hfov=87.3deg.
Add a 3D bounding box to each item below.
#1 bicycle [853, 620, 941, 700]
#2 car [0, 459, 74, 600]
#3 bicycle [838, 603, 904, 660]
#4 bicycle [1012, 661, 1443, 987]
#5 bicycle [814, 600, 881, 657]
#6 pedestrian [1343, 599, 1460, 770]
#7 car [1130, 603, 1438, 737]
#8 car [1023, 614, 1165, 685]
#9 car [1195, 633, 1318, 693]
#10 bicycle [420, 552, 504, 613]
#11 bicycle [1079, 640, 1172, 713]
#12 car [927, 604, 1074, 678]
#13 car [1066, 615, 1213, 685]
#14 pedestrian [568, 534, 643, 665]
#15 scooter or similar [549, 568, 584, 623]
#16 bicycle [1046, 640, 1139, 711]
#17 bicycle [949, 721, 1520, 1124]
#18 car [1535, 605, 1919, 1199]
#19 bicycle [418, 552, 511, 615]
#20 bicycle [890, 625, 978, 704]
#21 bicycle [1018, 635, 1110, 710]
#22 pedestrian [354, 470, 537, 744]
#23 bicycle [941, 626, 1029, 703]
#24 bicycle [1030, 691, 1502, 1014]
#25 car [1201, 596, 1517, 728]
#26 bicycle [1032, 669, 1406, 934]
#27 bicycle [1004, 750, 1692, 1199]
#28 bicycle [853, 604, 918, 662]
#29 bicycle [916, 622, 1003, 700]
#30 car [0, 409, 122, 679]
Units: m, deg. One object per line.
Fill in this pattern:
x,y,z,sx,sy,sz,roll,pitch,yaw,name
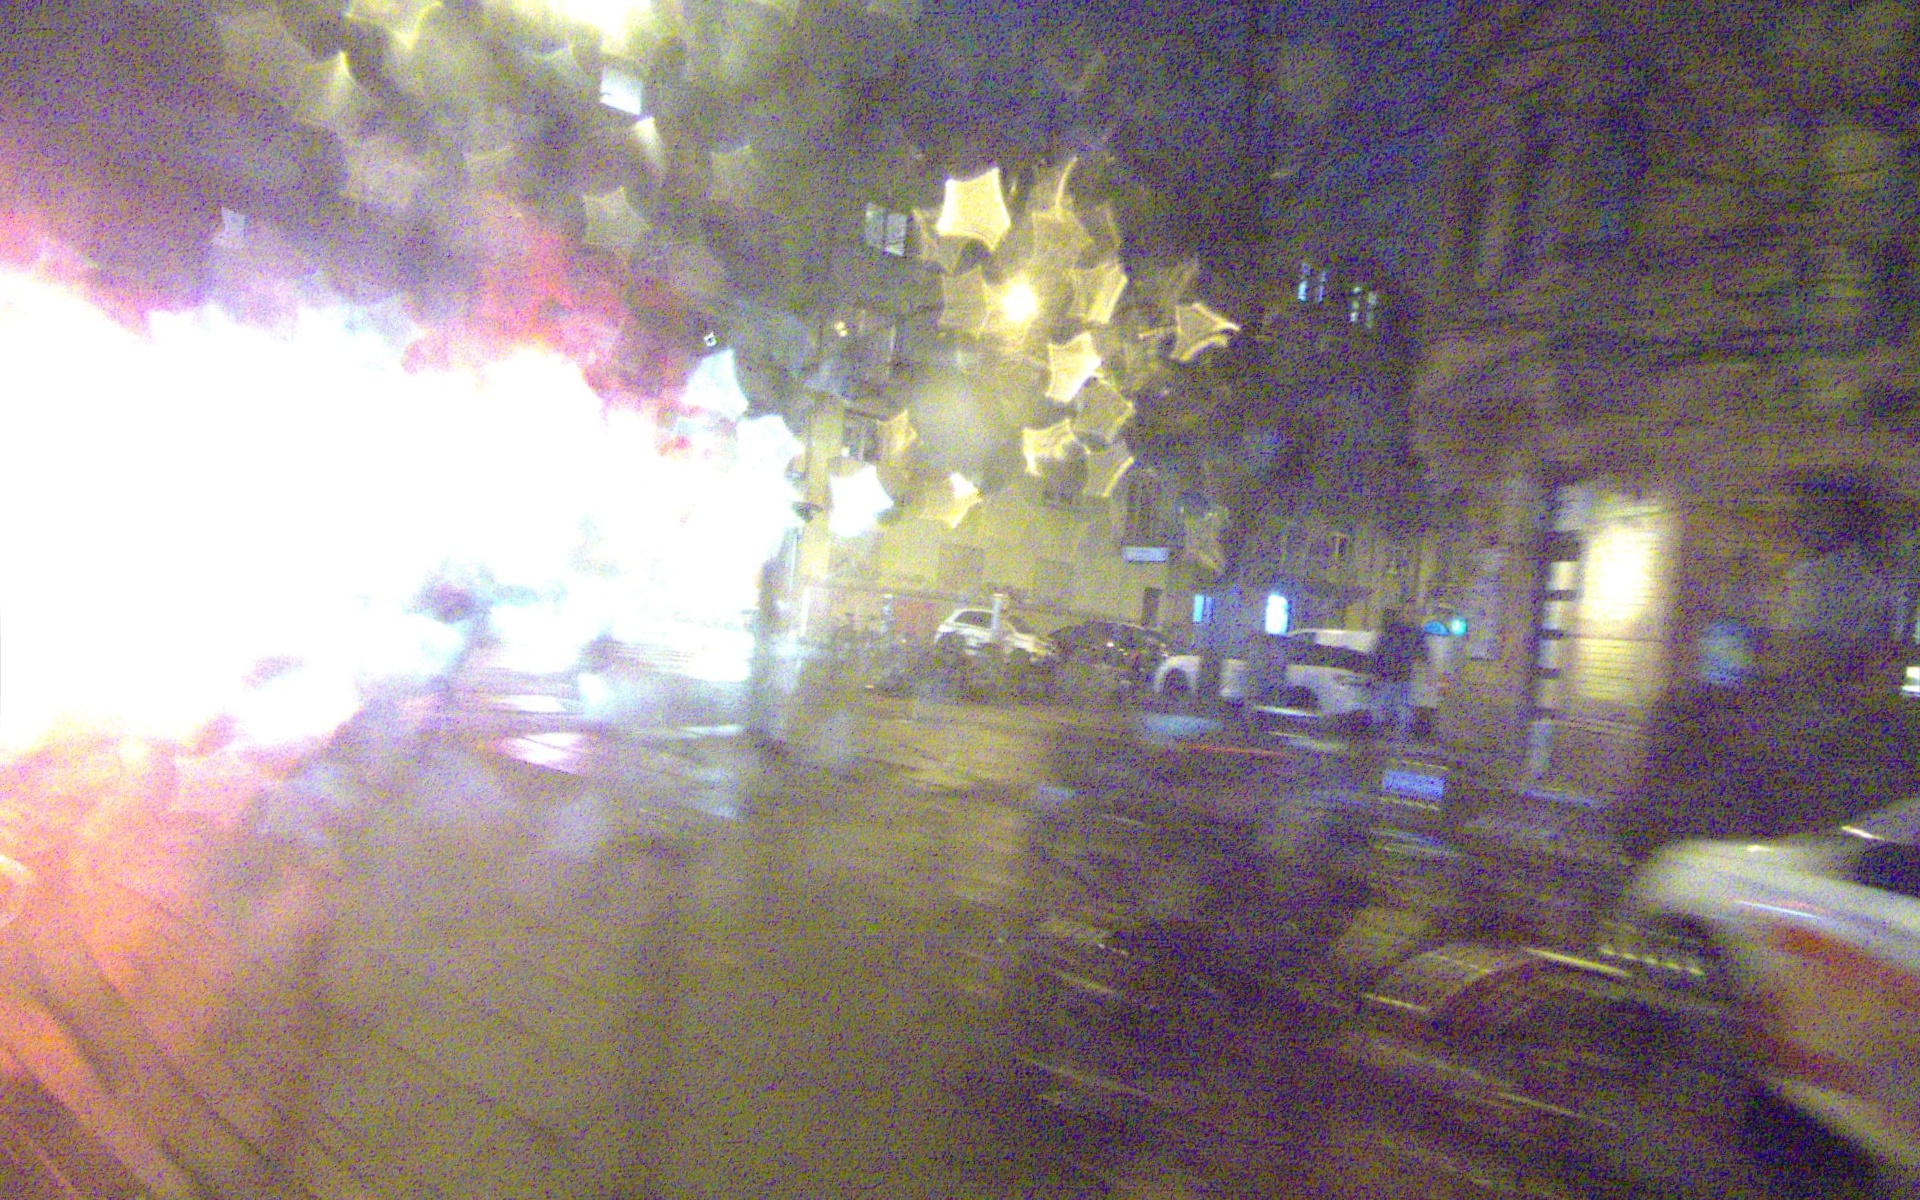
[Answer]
-1.008,0.913,15.635,0.450,1.021,1.794,6,0,-33,bicycle
-15.913,-1.295,14.778,4.735,1.945,2.131,7,-1,18,car
-2.099,0.768,24.037,0.444,1.190,1.964,6,-2,29,bicycle
1.091,0.920,4.288,1.615,1.106,0.336,7,2,5,bicycle
-2.699,0.709,24.346,0.444,1.190,1.964,6,-2,29,bicycle
5.027,0.952,11.476,0.783,1.840,0.803,5,0,-33,pedestrian
5.697,1.178,18.377,1.982,1.783,5.049,7,-1,-35,car
3.935,1.447,29.634,3.631,1.596,1.755,5,-2,31,car
10.225,2.162,34.715,3.631,1.596,1.755,5,-2,31,car
-11.690,-0.394,23.621,1.630,1.187,0.381,8,-3,-30,bicycle
2.822,1.292,17.336,0.399,1.021,1.761,6,0,-33,bicycle
1.127,1.147,28.383,3.631,1.596,1.755,5,-2,31,car
5.582,1.546,31.429,4.039,1.682,1.755,5,-2,31,car
-5.419,-0.014,15.356,0.867,1.856,0.979,6,0,-22,pedestrian
-9.718,-0.122,24.816,0.521,1.244,1.303,7,0,-28,scooter or similar
2.247,1.276,17.270,0.400,1.020,1.795,7,-2,-33,bicycle
0.825,0.940,3.023,1.619,1.040,0.335,4,2,-13,bicycle
3.286,0.921,2.134,1.738,1.594,4.261,6,1,4,car
-11.171,-0.364,22.697,1.767,1.188,0.381,7,0,-30,bicycle
-0.436,0.994,15.880,0.399,1.021,1.794,6,0,-33,bicycle
1.730,1.205,17.012,0.399,1.021,1.794,6,0,-33,bicycle
-3.605,0.068,7.062,0.592,1.792,0.824,6,-1,44,pedestrian
0.375,1.016,16.265,0.399,1.021,1.794,5,1,-33,bicycle
1.099,0.913,3.762,1.615,1.039,0.336,3,0,2,bicycle
7.659,1.128,19.957,1.982,1.912,5.496,7,-1,-35,car
1.203,0.939,4.837,1.615,1.040,0.336,5,2,6,bicycle
0.982,0.978,2.516,1.620,1.040,0.335,6,2,-15,bicycle
-1.743,0.804,23.869,0.444,1.190,1.964,6,-2,29,bicycle
-0.035,0.949,16.069,0.376,1.021,1.794,6,1,-33,bicycle
-9.093,-0.613,9.073,2.115,2.015,4.548,7,-1,-41,car
